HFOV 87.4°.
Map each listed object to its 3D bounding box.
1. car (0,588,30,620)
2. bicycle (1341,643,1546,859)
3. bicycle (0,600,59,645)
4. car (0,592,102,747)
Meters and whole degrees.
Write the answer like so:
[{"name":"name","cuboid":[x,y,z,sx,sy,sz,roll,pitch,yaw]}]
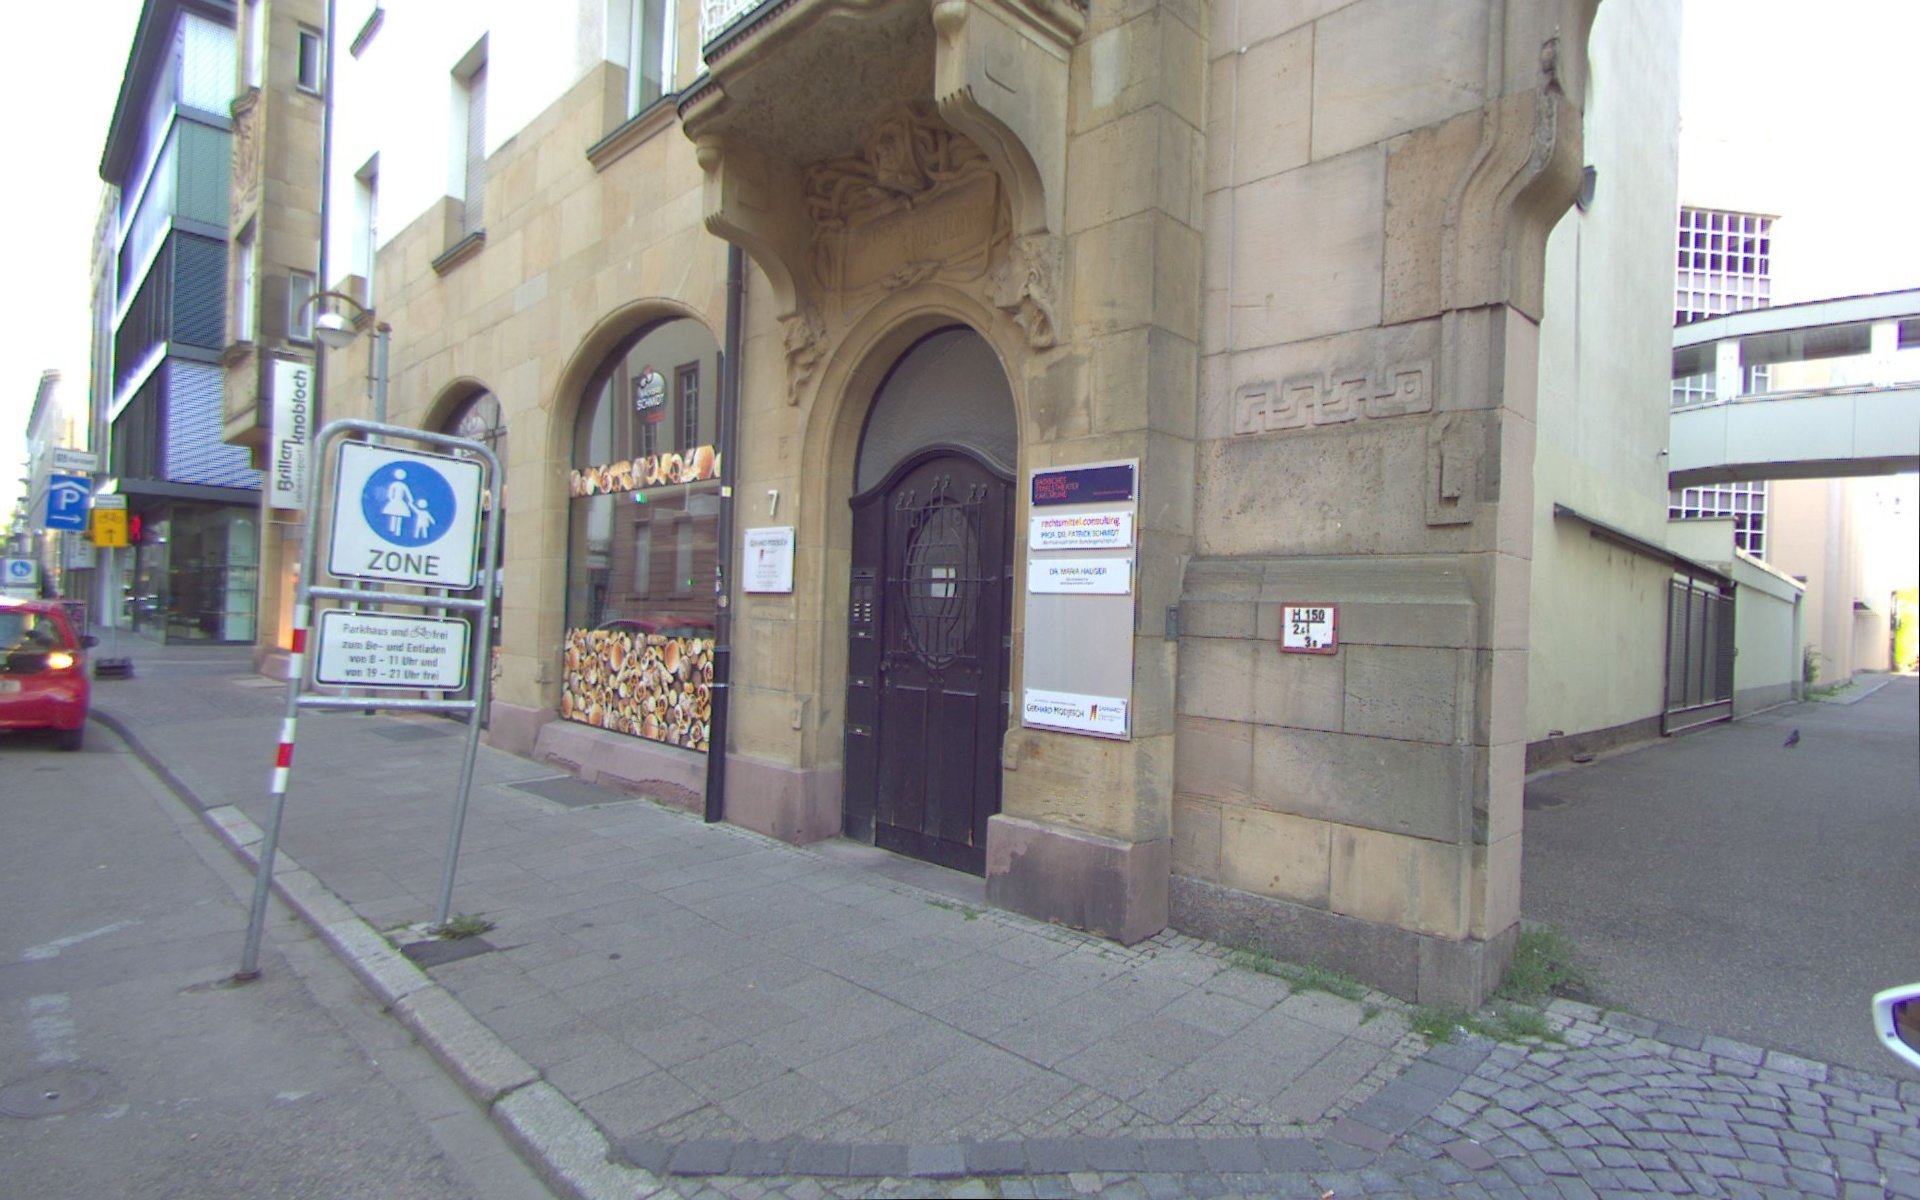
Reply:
[{"name":"car","cuboid":[-43.205,0.166,45.564,1.417,1.436,3.843,0,0,-44]},{"name":"bicycle","cuboid":[2.999,0.833,6.143,0.589,1.094,1.745,1,0,44]},{"name":"bicycle","cuboid":[-24.907,0.581,26.292,1.941,1.145,0.612,0,0,-44]},{"name":"car","cuboid":[-10.208,0.637,10.511,1.628,1.460,3.116,6,-3,-43]}]
